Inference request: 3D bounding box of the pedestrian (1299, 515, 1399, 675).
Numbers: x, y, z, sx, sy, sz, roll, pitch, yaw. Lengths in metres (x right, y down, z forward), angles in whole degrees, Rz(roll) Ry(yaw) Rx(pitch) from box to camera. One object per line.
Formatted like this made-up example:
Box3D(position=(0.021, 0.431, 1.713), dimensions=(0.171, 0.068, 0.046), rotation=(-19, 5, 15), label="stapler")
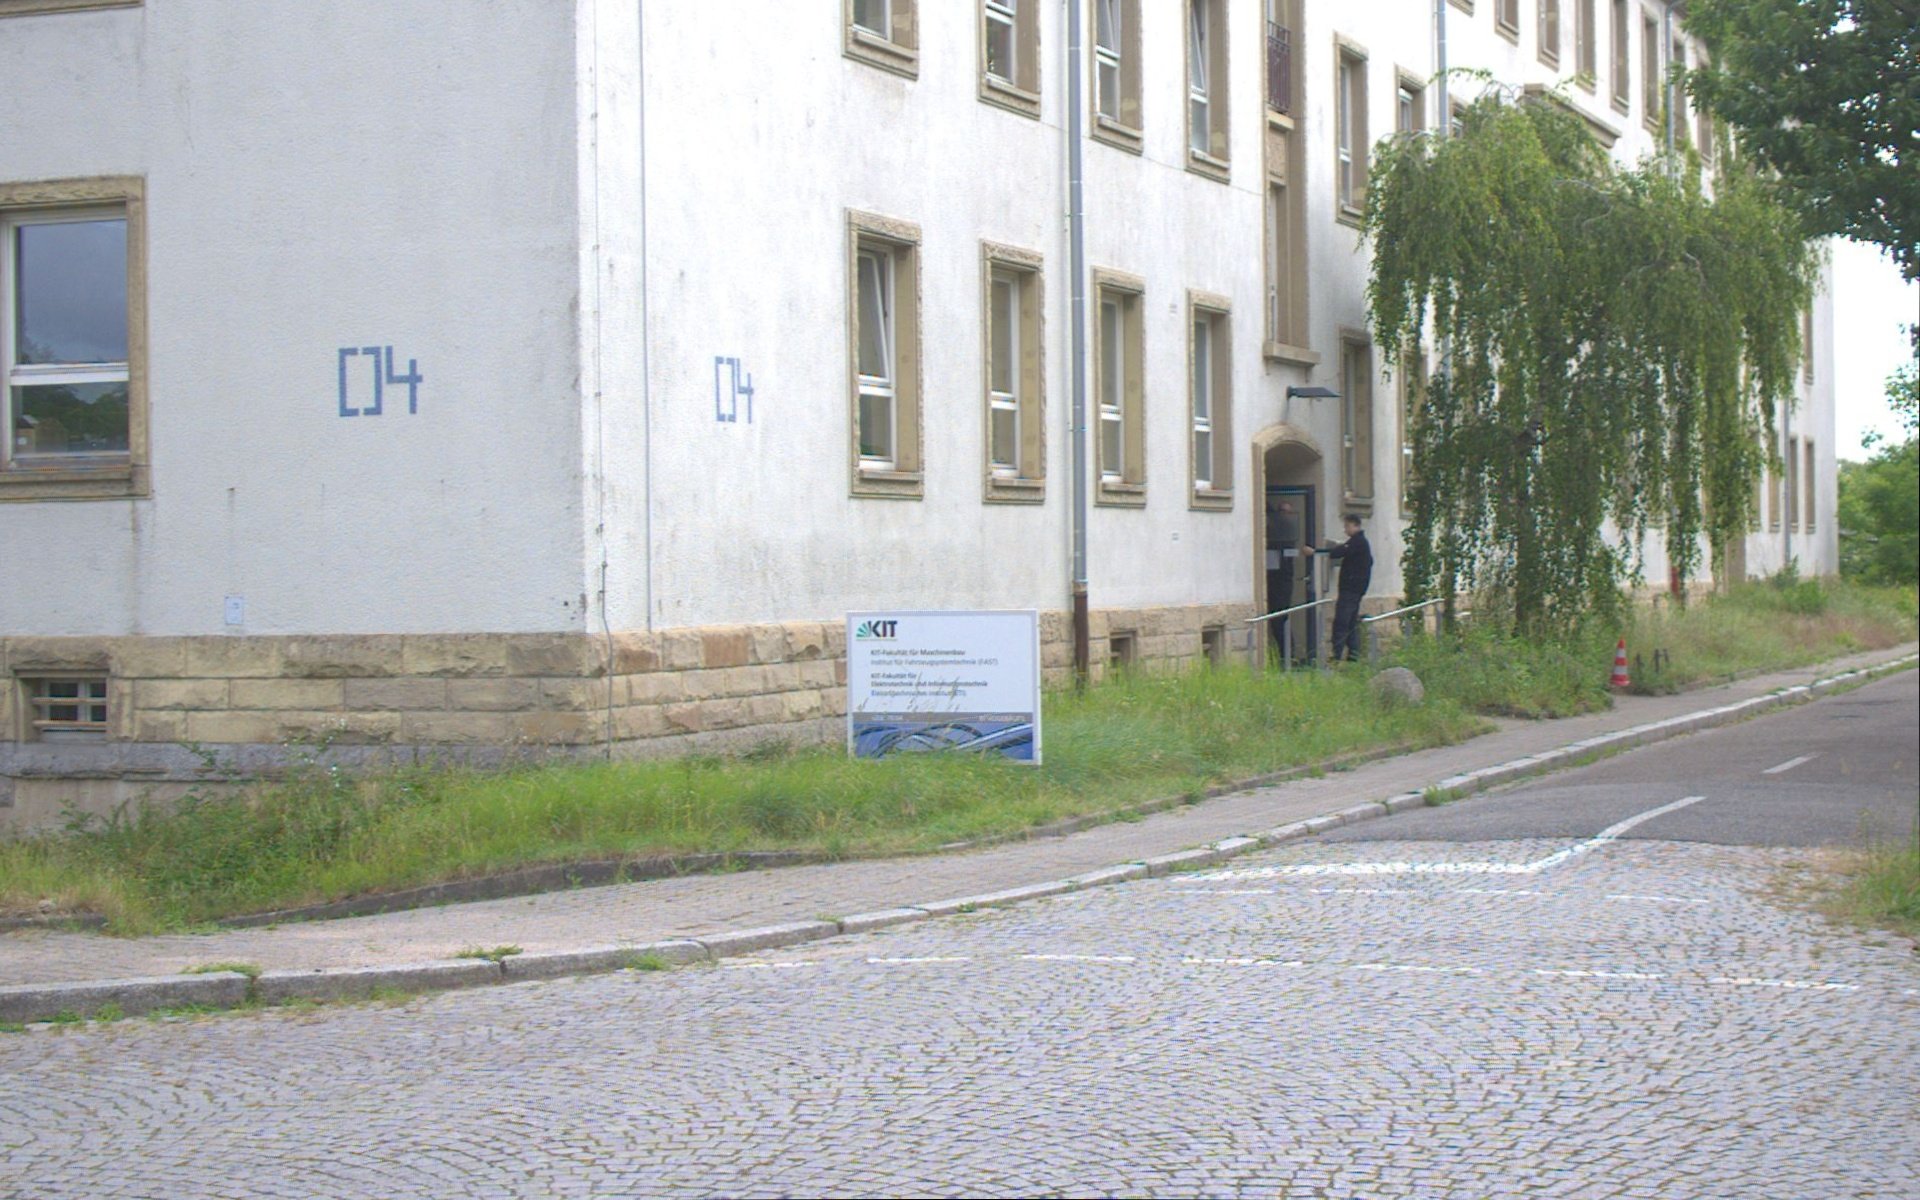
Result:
Box3D(position=(4.404, -0.061, 38.867), dimensions=(0.838, 1.775, 0.940), rotation=(0, 0, 27), label="pedestrian")
